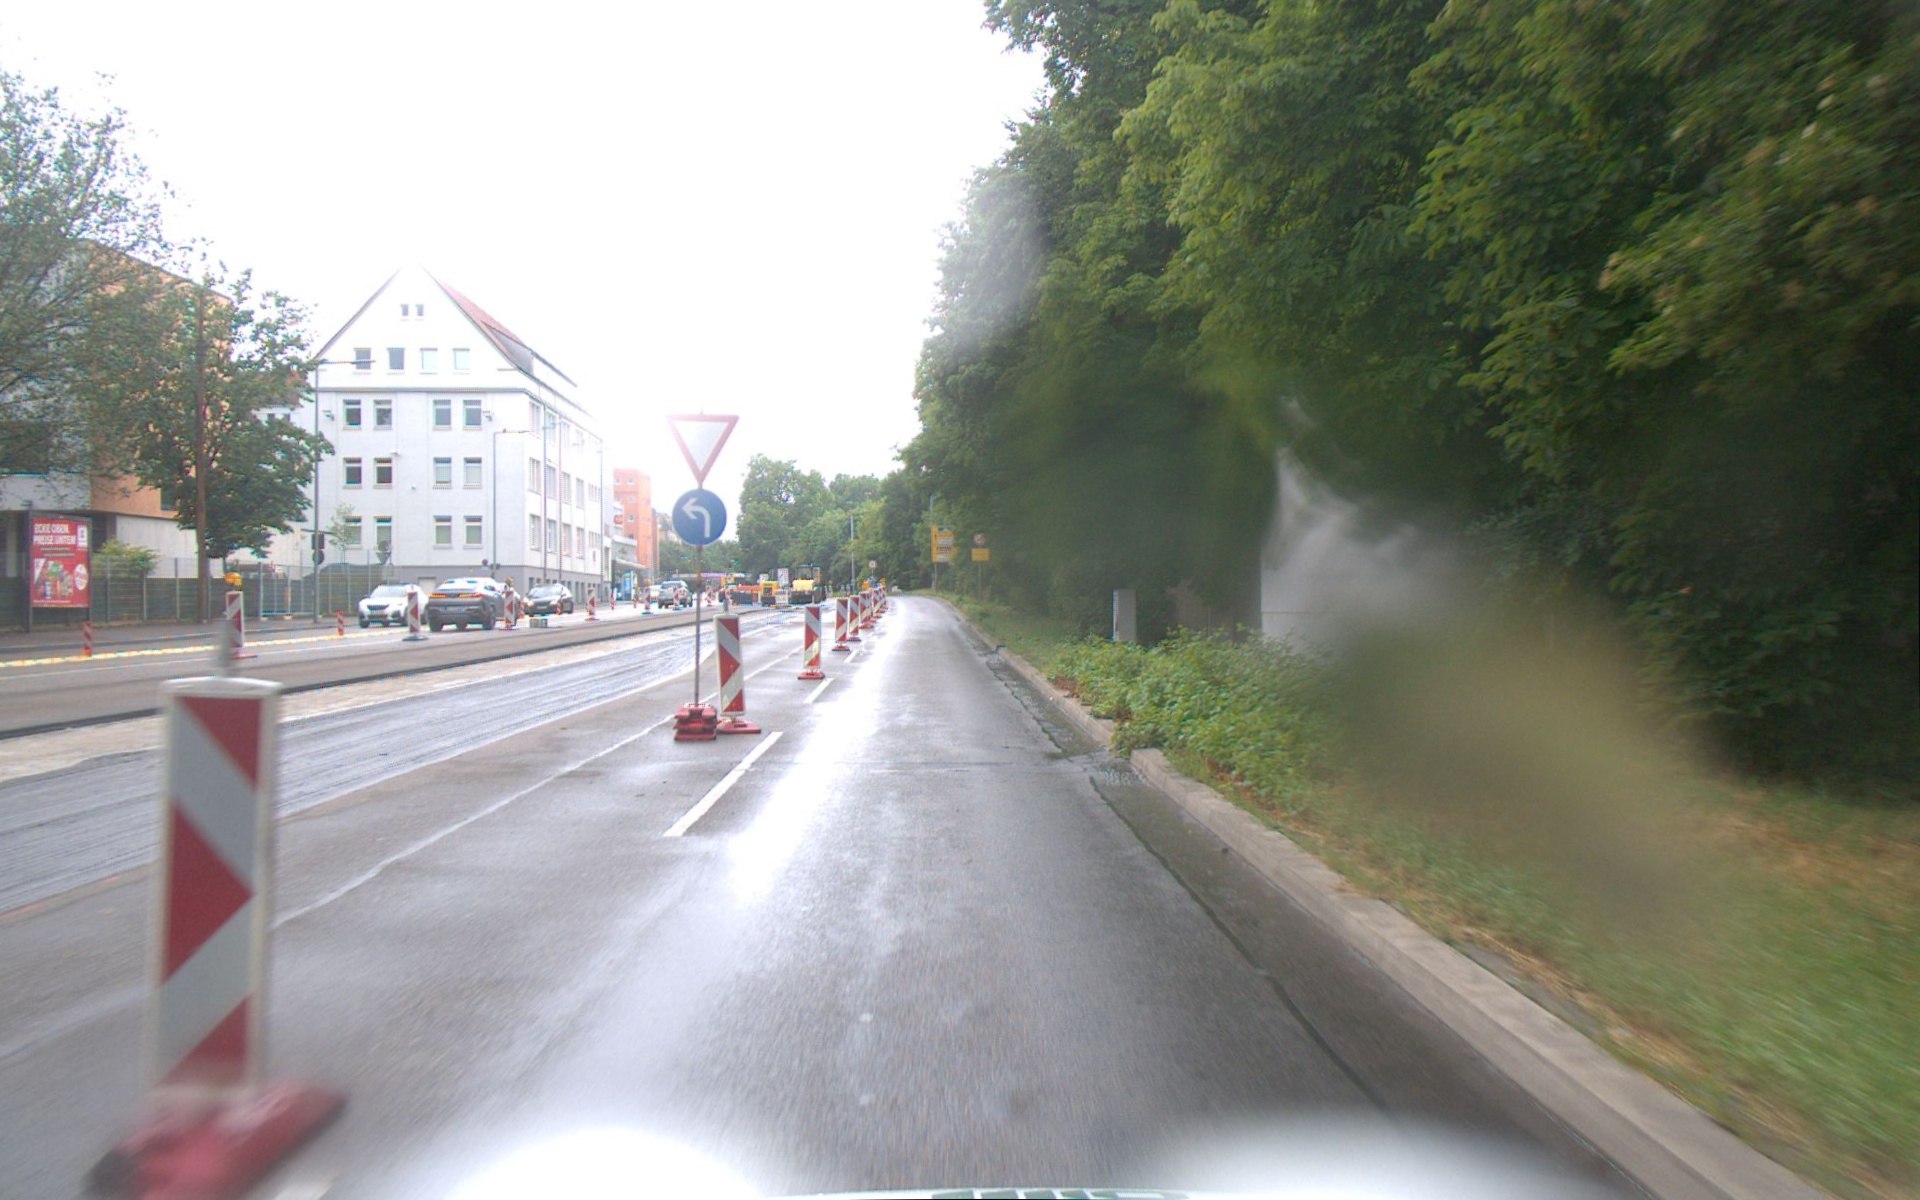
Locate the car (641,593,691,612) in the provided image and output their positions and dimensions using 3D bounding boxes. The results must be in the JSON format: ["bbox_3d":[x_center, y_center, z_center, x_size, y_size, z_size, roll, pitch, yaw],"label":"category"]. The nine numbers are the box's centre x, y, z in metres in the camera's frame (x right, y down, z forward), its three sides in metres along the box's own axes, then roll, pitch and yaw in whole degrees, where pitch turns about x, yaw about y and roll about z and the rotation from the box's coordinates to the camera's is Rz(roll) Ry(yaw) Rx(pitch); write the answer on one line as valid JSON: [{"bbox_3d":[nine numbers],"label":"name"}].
[{"bbox_3d":[-23.724,0.201,133.569,1.532,1.392,3.779,-2,0,44],"label":"car"}]

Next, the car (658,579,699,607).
[{"bbox_3d":[-17.335,-0.448,102.068,1.854,1.679,4.395,0,0,-1],"label":"car"}]

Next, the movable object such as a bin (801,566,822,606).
[{"bbox_3d":[-11.892,-1.129,132.608,1.437,3.061,3.722,-2,1,-3],"label":"movable object such as a bin"}]

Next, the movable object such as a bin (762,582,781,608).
[{"bbox_3d":[-12.378,-0.353,108.566,1.061,1.673,2.437,0,0,-2],"label":"movable object such as a bin"}]

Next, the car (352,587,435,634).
[{"bbox_3d":[-22.508,0.384,65.860,1.821,1.735,4.364,-3,0,-1],"label":"car"}]

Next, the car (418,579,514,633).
[{"bbox_3d":[-16.064,0.171,54.014,1.854,1.679,4.395,0,0,-1],"label":"car"}]

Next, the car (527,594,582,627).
[{"bbox_3d":[-20.152,0.511,82.263,1.821,1.501,3.731,-3,0,-1],"label":"car"}]

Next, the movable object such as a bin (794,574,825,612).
[{"bbox_3d":[-10.644,-0.515,117.217,1.864,2.654,5.381,-1,1,-2],"label":"movable object such as a bin"}]

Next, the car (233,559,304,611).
[{"bbox_3d":[-30.381,-0.645,72.778,1.578,2.208,3.998,0,0,-2],"label":"car"}]
